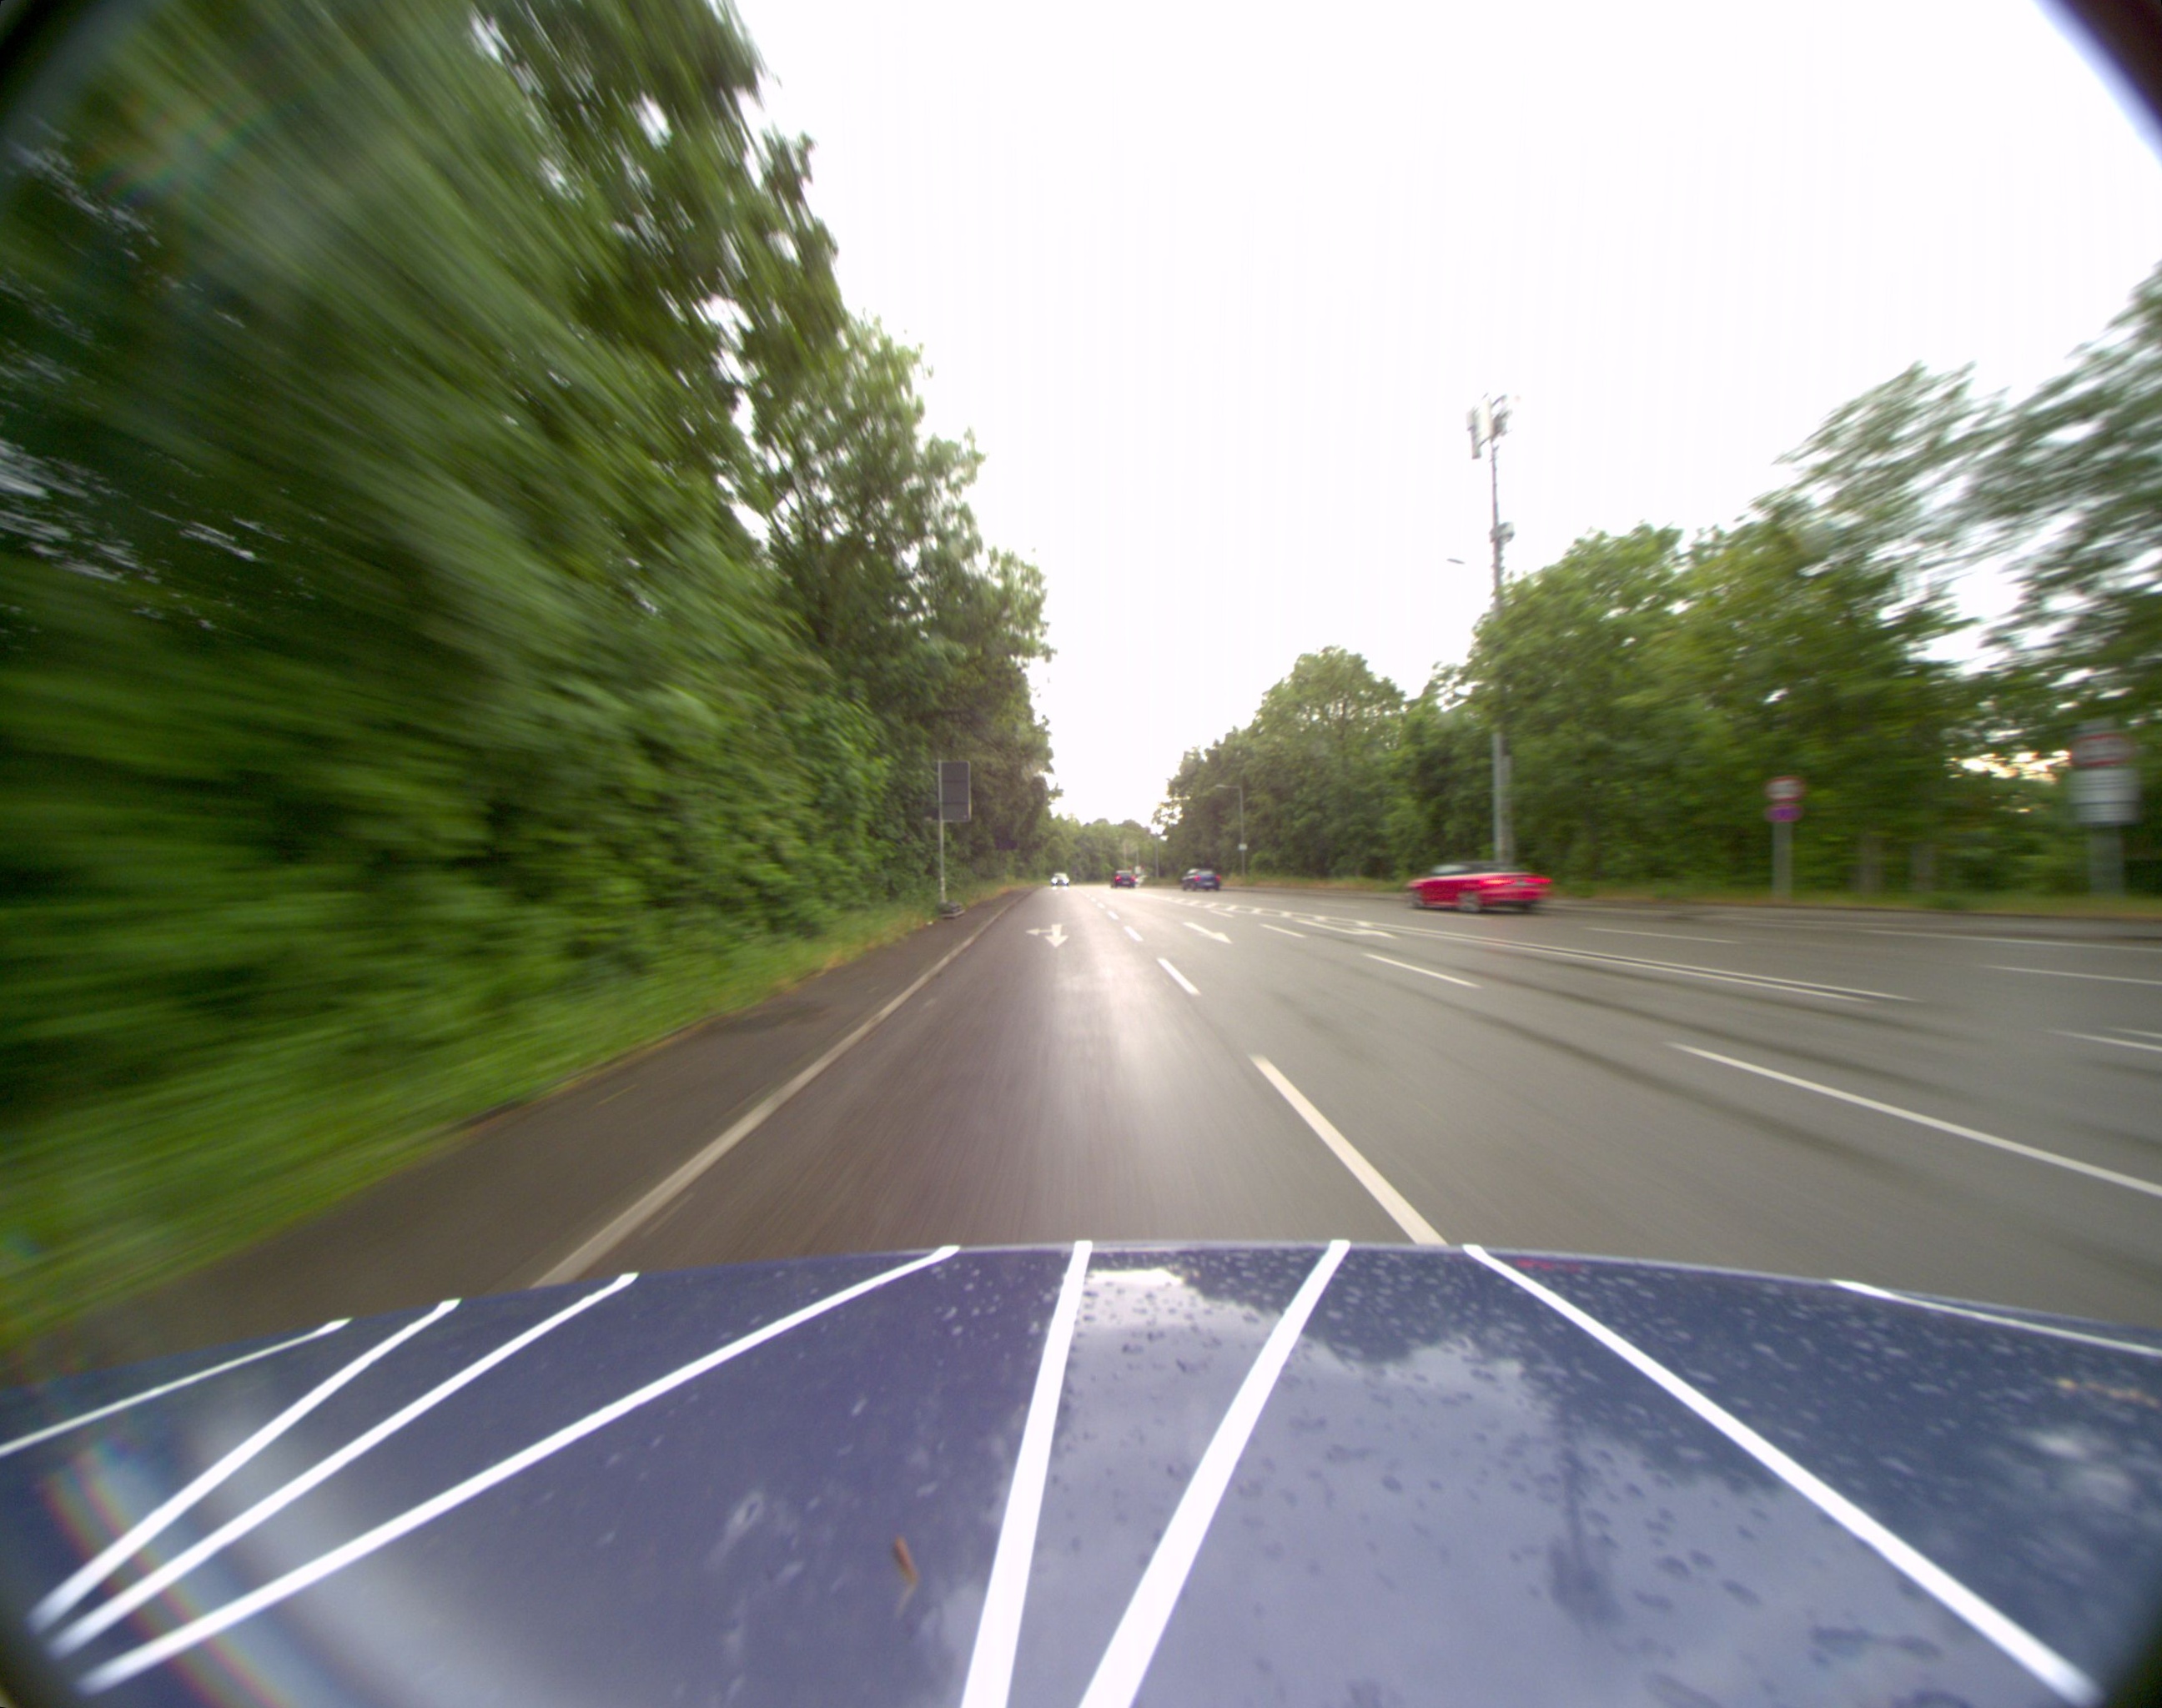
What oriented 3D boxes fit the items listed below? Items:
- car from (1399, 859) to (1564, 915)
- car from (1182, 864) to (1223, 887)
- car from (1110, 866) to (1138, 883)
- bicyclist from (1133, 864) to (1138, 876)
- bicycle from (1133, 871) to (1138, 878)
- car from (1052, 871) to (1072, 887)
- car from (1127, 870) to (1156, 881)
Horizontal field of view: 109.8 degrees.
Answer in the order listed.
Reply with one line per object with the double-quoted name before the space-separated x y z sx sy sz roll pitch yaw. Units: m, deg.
"car" 10.849 0.843 21.020 1.881 1.366 4.382 -1 -1 -7
"car" 7.805 1.367 49.072 1.636 1.386 3.998 -1 -1 -6
"car" 3.634 1.765 65.276 1.706 1.419 4.076 0 -1 -7
"bicyclist" 7.289 2.169 102.026 0.580 1.576 0.700 1 -1 -1
"bicycle" 7.308 2.775 101.826 0.453 0.997 2.018 -2 -2 -1
"car" -1.925 2.557 79.301 1.999 1.576 4.000 1 -1 0
"car" 10.127 3.662 127.495 4.752 1.706 1.895 -1 -1 3
